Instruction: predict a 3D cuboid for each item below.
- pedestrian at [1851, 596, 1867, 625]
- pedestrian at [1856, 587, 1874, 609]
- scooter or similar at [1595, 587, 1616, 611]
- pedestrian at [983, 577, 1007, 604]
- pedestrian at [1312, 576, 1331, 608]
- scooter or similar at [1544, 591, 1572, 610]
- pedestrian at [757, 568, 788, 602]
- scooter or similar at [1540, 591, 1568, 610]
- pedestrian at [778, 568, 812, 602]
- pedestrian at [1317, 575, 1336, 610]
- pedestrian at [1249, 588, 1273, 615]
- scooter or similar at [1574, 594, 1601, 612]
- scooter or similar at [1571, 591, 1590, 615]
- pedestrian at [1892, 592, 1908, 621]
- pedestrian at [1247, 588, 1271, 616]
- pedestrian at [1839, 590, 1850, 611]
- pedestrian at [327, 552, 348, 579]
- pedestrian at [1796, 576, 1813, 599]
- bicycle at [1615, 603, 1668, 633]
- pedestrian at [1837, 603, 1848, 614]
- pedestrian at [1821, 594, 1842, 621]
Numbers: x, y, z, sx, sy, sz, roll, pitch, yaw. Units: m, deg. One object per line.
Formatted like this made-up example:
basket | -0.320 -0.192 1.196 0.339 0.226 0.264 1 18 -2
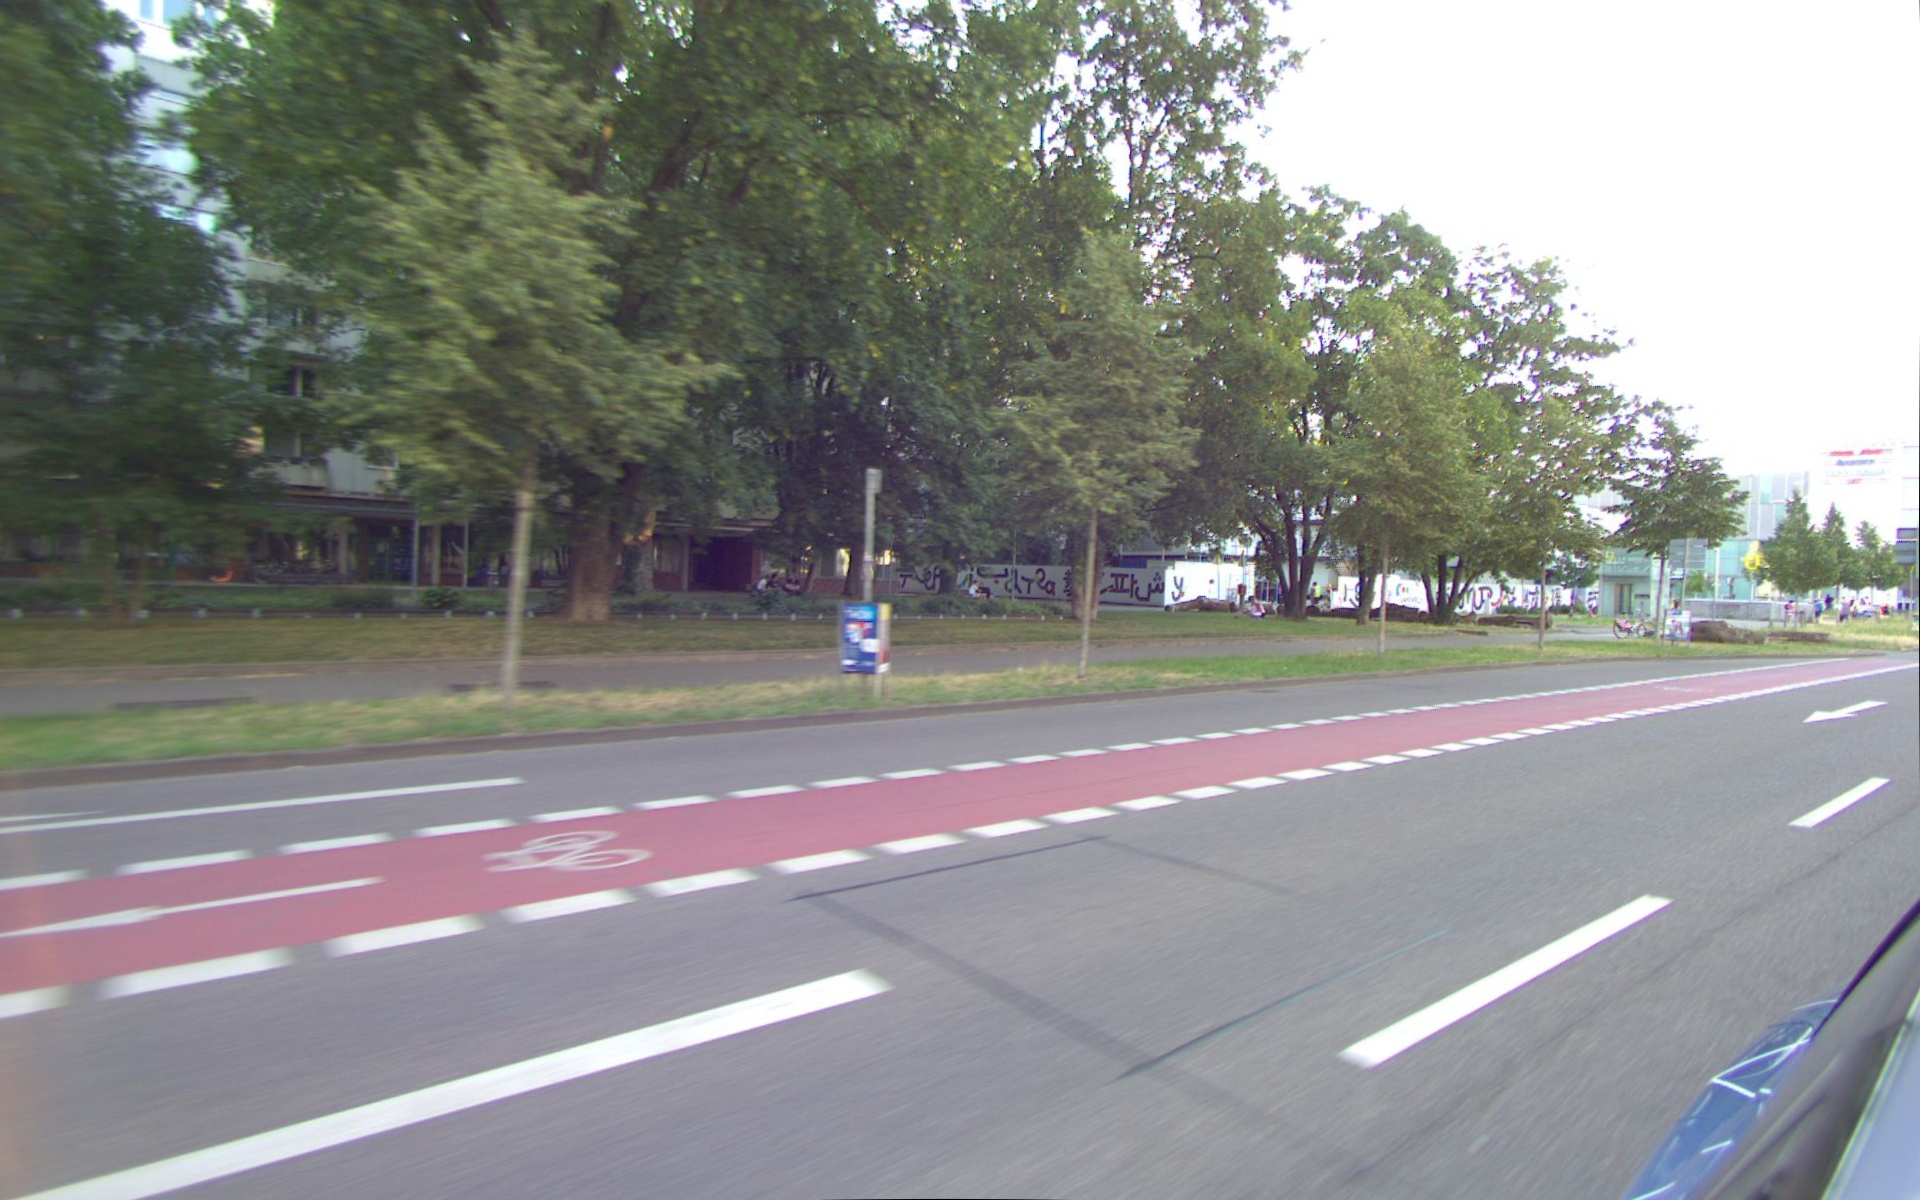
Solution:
pedestrian | 62.303 0.728 70.139 0.608 1.957 0.644 1 1 -36
pedestrian | 83.028 -0.181 92.868 0.882 1.876 0.723 4 4 18
scooter or similar | 34.877 -0.045 54.686 1.373 1.235 0.425 1 4 -38
pedestrian | 1.613 -0.447 46.354 0.754 1.178 0.787 0 2 -44
pedestrian | 21.030 -0.468 58.875 0.587 1.843 0.771 1 1 -24
scooter or similar | 40.255 0.038 68.170 0.466 1.236 1.572 1 0 -40
pedestrian | -7.223 -0.589 38.909 0.712 1.276 1.135 1 2 -36
scooter or similar | 39.677 0.050 67.608 0.466 1.236 1.572 1 0 -40
pedestrian | -6.438 -0.569 39.420 0.888 1.276 1.135 1 2 -36
pedestrian | 20.698 -0.438 57.202 0.587 1.943 0.771 1 1 -24
pedestrian | 10.534 0.054 35.437 0.675 0.895 0.617 2 1 28
scooter or similar | 45.518 0.216 73.463 0.466 1.236 1.572 0 1 -40
scooter or similar | 34.080 0.159 55.571 0.473 1.235 1.549 6 4 44
pedestrian | 63.962 0.440 68.848 0.608 1.957 0.644 1 1 -39
pedestrian | 10.308 0.062 34.876 0.675 0.895 0.587 3 2 27
pedestrian | 81.071 0.035 92.736 0.575 1.877 0.605 1 1 -33
pedestrian | -27.460 -1.511 44.617 0.687 1.178 0.788 1 1 -37
pedestrian | 57.434 -0.858 68.836 0.633 1.509 0.762 3 0 -40
bicycle | 24.647 0.653 36.575 1.858 1.017 0.497 2 3 -19
pedestrian | 79.712 0.735 91.436 0.643 0.975 0.648 1 2 -44
pedestrian | 62.199 0.517 72.199 1.026 1.838 0.817 2 0 -33
